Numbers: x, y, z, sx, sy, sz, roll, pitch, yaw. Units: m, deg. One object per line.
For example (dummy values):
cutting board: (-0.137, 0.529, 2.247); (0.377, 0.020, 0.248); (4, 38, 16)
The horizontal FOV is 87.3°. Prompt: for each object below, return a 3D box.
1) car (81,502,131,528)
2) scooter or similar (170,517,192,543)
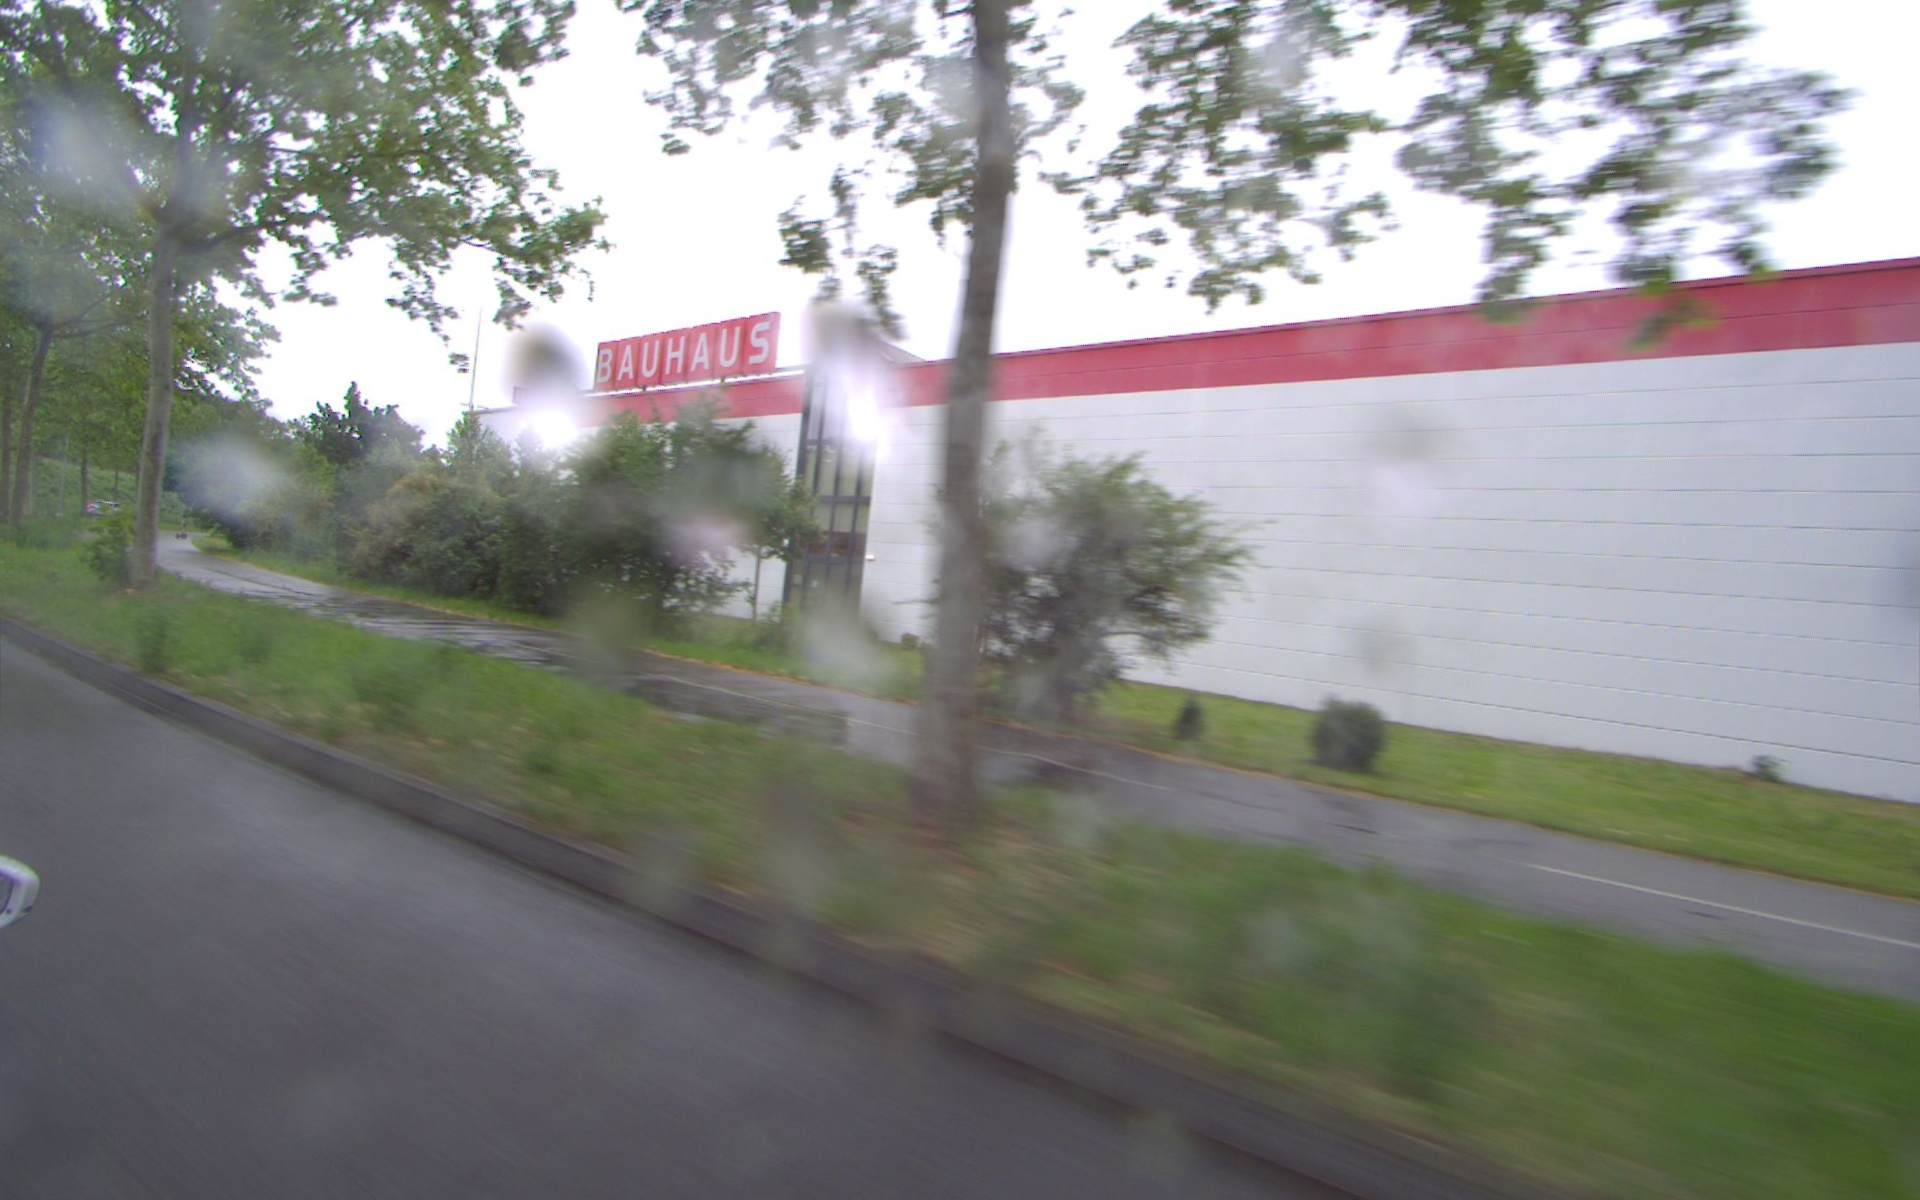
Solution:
car: (-69.097, -6.860, 81.457); (1.763, 1.574, 3.978); (9, -1, -23)
scooter or similar: (-39.405, -3.546, 50.907); (1.095, 1.212, 0.548); (7, 0, 39)
